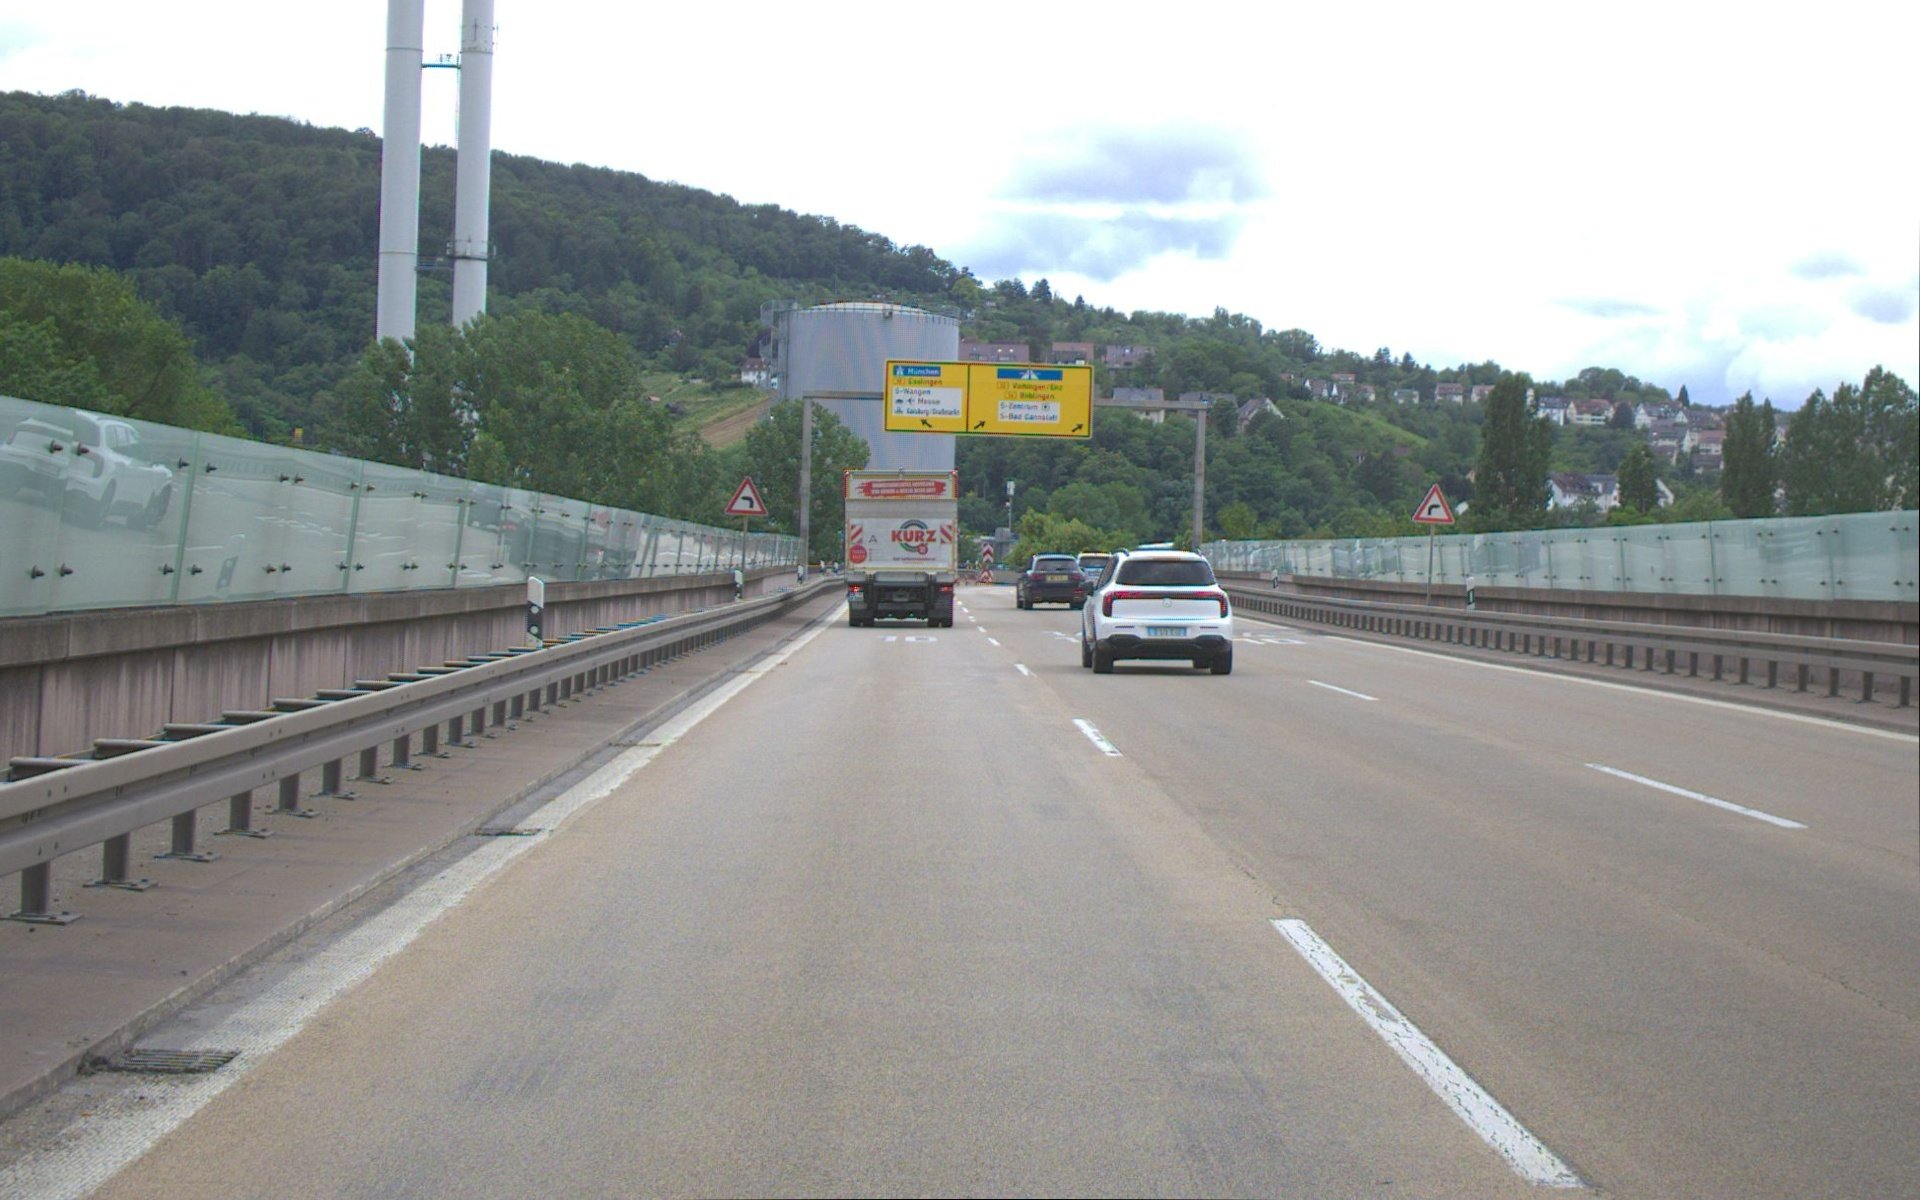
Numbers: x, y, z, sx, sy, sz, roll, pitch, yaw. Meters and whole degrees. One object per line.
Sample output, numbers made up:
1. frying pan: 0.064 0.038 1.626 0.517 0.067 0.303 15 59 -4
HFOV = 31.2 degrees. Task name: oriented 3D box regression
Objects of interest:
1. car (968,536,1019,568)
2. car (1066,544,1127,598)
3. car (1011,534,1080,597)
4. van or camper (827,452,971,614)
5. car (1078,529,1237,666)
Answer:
1. car: 2.094 -2.984 214.459 2.474 1.973 5.158 1 1 8
2. car: 4.703 -1.031 119.271 1.924 1.779 4.113 1 1 0
3. car: 2.530 -1.046 102.524 1.924 1.779 4.113 1 1 0
4. van or camper: -1.350 -1.554 81.030 3.122 3.567 8.550 1 1 0
5. car: 2.683 -0.078 47.454 1.924 1.779 4.113 1 1 0
